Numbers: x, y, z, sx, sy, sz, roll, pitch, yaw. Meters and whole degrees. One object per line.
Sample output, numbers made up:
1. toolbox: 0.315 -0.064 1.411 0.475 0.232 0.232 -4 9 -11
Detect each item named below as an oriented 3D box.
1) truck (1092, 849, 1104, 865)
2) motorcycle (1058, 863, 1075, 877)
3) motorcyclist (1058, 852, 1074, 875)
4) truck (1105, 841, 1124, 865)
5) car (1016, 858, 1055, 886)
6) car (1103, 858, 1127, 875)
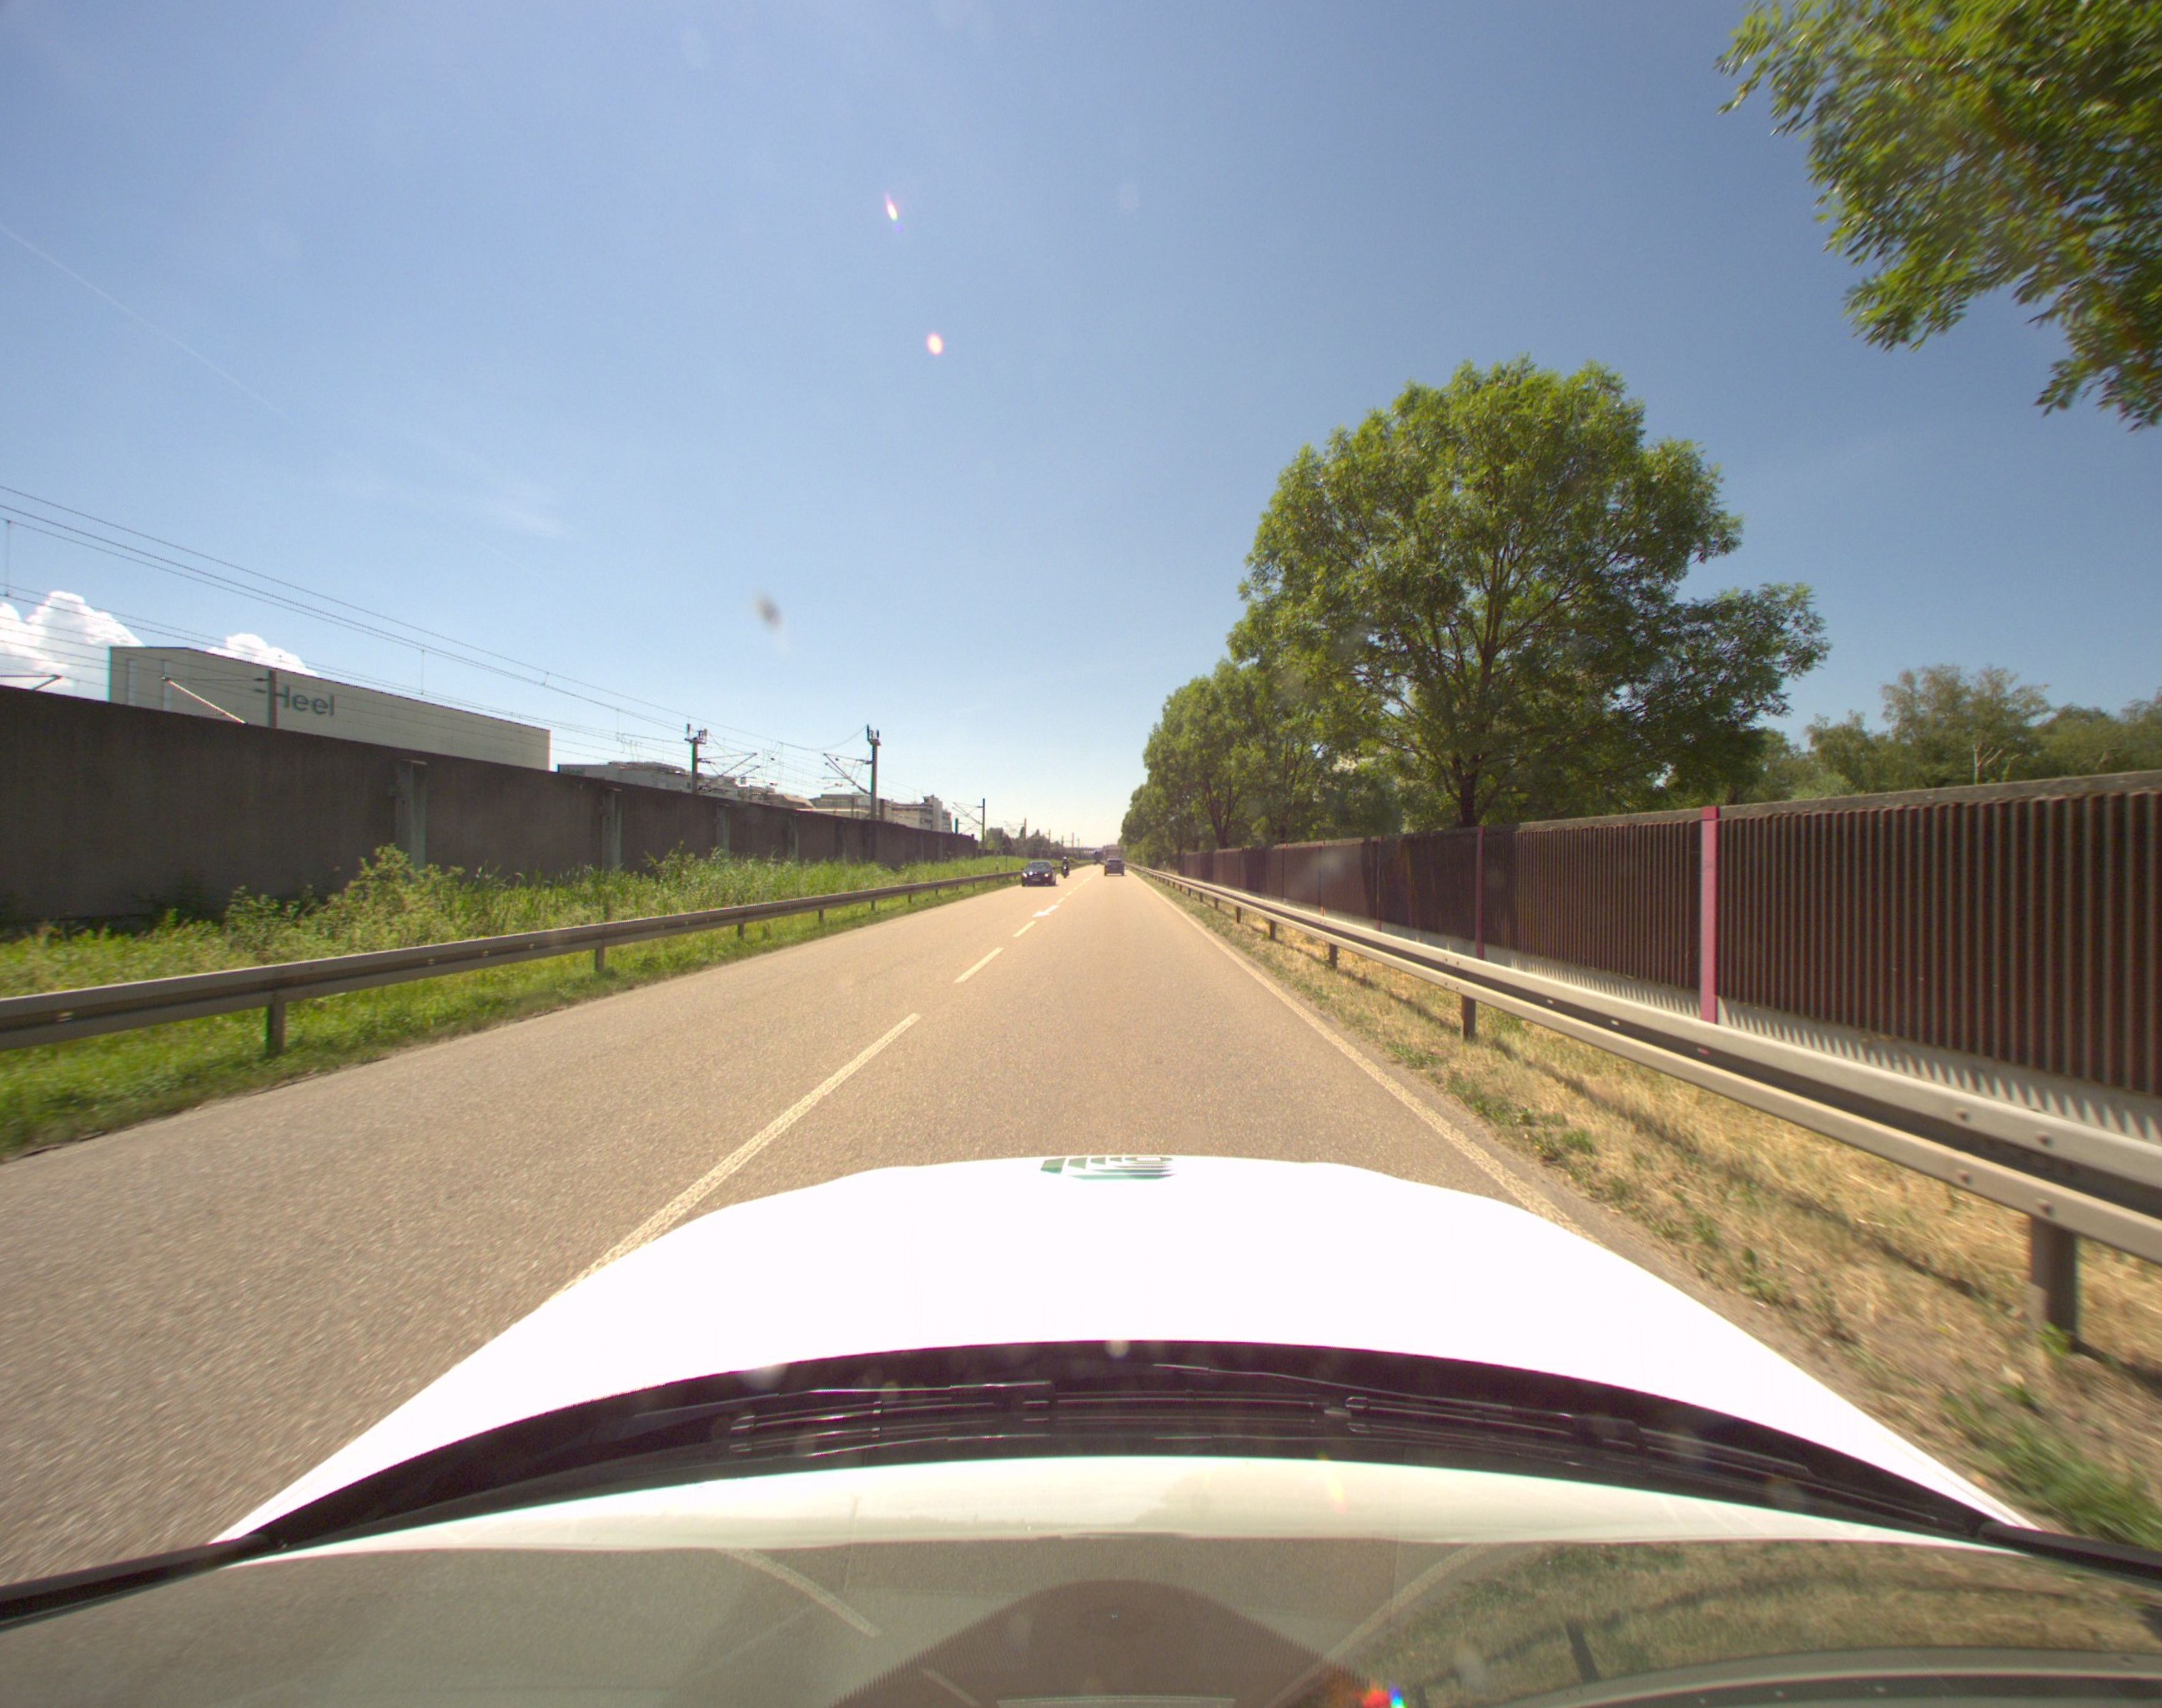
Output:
1. truck: 4.613 0.801 220.666 2.786 3.978 10.504 -4 -1 2
2. motorcycle: -1.215 1.290 67.329 1.232 1.072 3.130 -1 0 2
3. motorcyclist: -1.209 0.792 67.301 1.249 1.864 1.246 -1 -1 1
4. truck: 4.942 -0.136 120.842 2.759 3.425 10.824 0 -1 2
5. car: -2.620 1.006 47.561 1.987 1.508 4.000 -1 0 1
6. car: 3.050 1.115 73.654 1.987 1.508 3.999 -1 0 0
